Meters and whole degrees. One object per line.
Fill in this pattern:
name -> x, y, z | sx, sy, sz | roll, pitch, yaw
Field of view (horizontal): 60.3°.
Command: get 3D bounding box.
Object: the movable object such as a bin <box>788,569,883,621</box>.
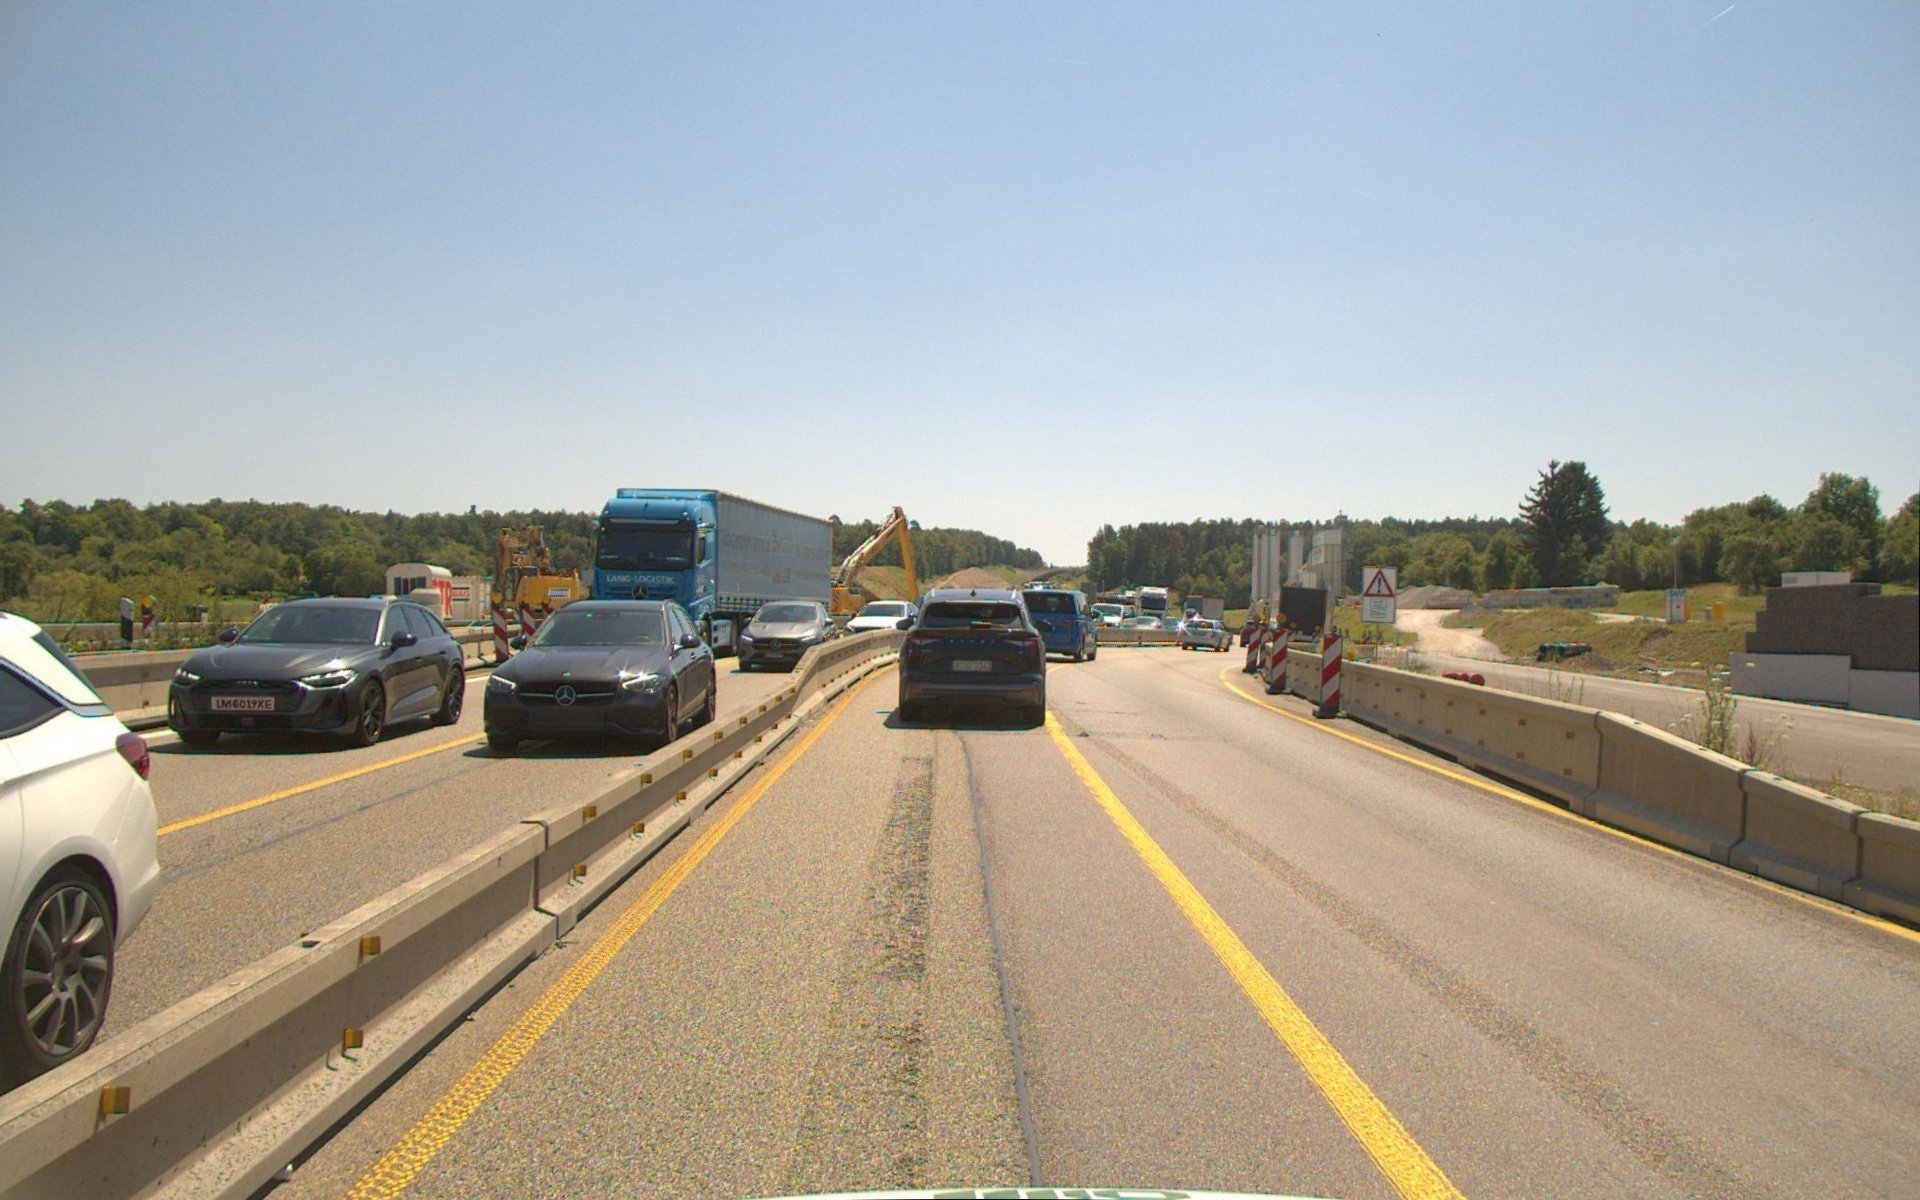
movable object such as a bin -> -6.976, -0.246, 93.334 | 3.224, 2.482, 5.440 | 5, 0, 19

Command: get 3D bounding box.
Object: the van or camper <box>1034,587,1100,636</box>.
van or camper -> 5.932, 0.646, 90.695 | 2.055, 2.586, 6.307 | 1, -1, 18

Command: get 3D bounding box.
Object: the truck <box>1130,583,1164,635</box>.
truck -> 16.392, 0.794, 145.073 | 2.712, 4.334, 6.202 | 2, 0, 5

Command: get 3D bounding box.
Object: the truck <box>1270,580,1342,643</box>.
truck -> 17.268, 0.578, 82.339 | 2.618, 2.997, 5.620 | 1, -1, 21

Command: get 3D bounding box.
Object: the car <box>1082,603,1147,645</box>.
car -> 7.867, 1.230, 83.617 | 1.835, 1.905, 5.057 | 3, -1, 22

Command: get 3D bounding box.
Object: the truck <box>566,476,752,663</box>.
truck -> -7.182, -0.728, 40.373 | 2.852, 4.201, 6.143 | 0, 1, 6

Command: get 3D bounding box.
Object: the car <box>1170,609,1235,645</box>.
car -> 11.326, 1.246, 76.853 | 2.003, 1.553, 5.067 | 1, -1, 20

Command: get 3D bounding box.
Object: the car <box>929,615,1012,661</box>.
car -> 0.427, 1.386, 61.404 | 1.731, 1.636, 4.712 | 0, 0, 18

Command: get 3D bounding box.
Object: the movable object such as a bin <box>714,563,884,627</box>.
movable object such as a bin -> -7.950, -0.251, 81.091 | 7.778, 2.474, 3.702 | 5, 0, 37

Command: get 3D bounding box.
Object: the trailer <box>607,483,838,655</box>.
trailer -> -6.340, -0.836, 47.390 | 2.852, 4.201, 13.928 | 0, 1, 8

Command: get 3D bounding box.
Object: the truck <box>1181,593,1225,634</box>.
truck -> 28.341, 1.492, 193.470 | 3.406, 4.292, 10.378 | 6, 1, 1

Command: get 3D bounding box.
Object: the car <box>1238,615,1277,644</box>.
car -> 17.919, 1.770, 99.613 | 1.783, 1.673, 3.867 | 3, 0, 17

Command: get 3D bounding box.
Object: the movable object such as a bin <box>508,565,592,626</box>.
movable object such as a bin -> -20.649, -0.228, 83.258 | 2.853, 2.774, 3.314 | 4, 0, -40

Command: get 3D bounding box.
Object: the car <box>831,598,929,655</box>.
car -> -2.308, 0.743, 49.111 | 1.973, 1.469, 4.592 | 1, 1, 9

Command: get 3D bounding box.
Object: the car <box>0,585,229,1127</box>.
car -> -3.512, 0.724, 3.785 | 1.698, 1.504, 4.519 | 0, 0, -1

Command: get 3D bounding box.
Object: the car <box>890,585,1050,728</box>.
car -> 0.120, 0.643, 21.133 | 1.805, 1.609, 4.000 | 1, 0, 0

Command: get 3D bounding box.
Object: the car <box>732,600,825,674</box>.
car -> -3.835, 0.752, 35.477 | 1.557, 1.466, 4.124 | 0, 0, -1

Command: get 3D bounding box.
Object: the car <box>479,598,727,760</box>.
car -> -3.634, 0.725, 17.695 | 1.738, 1.452, 4.769 | 0, 0, -2

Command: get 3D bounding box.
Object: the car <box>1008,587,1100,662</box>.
car -> 2.617, 0.639, 45.237 | 1.951, 1.876, 4.003 | 2, 0, 11

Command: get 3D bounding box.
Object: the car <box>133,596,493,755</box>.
car -> -6.690, 0.699, 17.740 | 1.952, 1.423, 4.581 | 1, 0, 1
